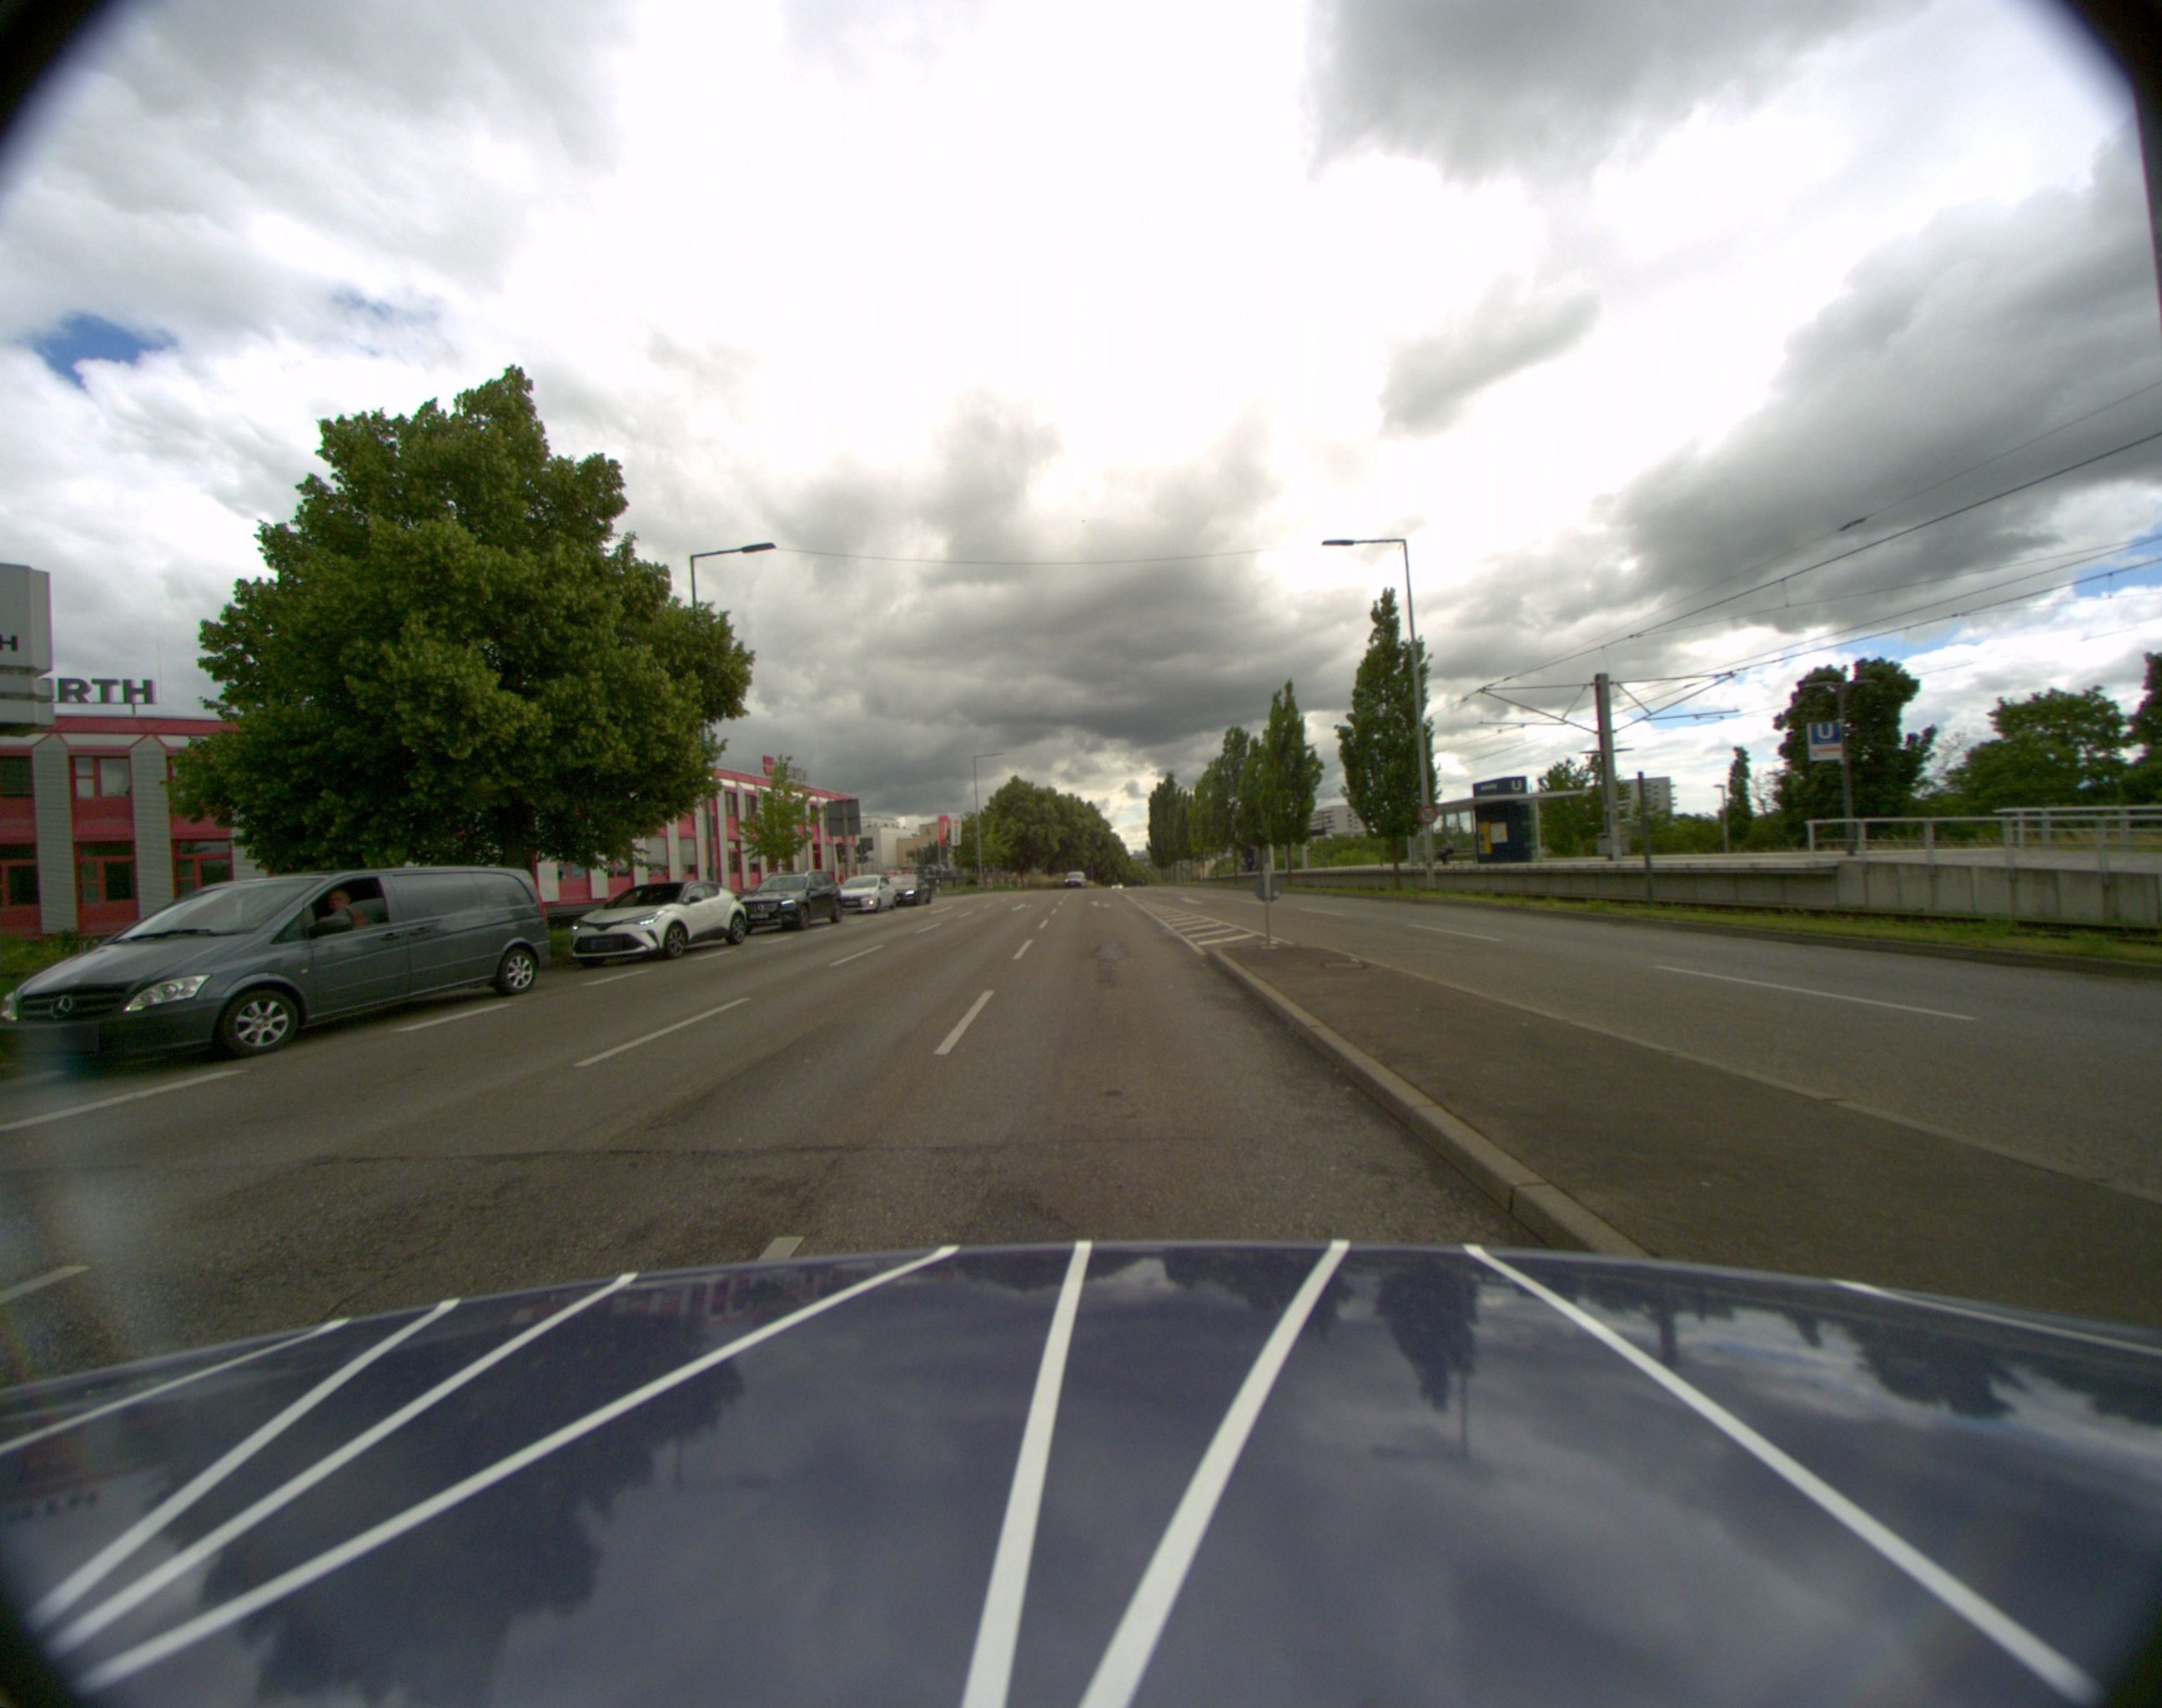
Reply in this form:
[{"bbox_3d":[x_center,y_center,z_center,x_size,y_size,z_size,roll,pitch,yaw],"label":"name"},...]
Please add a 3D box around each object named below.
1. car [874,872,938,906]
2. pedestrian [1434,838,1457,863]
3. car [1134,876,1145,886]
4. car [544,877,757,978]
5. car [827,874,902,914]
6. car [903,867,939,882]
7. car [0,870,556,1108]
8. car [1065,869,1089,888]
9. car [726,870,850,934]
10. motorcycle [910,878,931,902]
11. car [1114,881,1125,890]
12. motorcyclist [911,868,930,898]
[{"bbox_3d":[-8.031,1.588,35.200,1.785,1.437,4.530,-1,-2,1],"label":"car"},{"bbox_3d":[17.610,-0.174,36.729,0.663,1.195,0.782,-2,0,-7],"label":"pedestrian"},{"bbox_3d":[10.186,4.682,132.514,1.869,1.674,4.843,-2,-3,5],"label":"car"},{"bbox_3d":[-8.571,1.378,15.662,1.785,1.526,4.305,-5,0,0],"label":"car"},{"bbox_3d":[-8.483,1.552,30.100,1.785,1.434,3.836,-1,-2,1],"label":"car"},{"bbox_3d":[-21.231,2.685,100.998,4.248,1.744,1.784,-2,0,2],"label":"car"},{"bbox_3d":[-8.849,1.224,8.828,1.921,1.823,4.722,-5,0,2],"label":"car"},{"bbox_3d":[-0.347,2.605,81.415,1.998,1.791,4.841,-2,0,6],"label":"car"},{"bbox_3d":[-8.384,1.324,22.207,1.785,1.639,4.427,-1,-2,1],"label":"car"},{"bbox_3d":[-8.333,1.859,39.506,0.750,1.140,1.943,-4,-1,-3],"label":"motorcycle"},{"bbox_3d":[6.729,5.495,132.559,1.784,1.353,4.483,1,-3,4],"label":"car"},{"bbox_3d":[-8.362,1.502,39.593,0.750,1.481,0.933,-4,-1,-3],"label":"motorcyclist"}]
